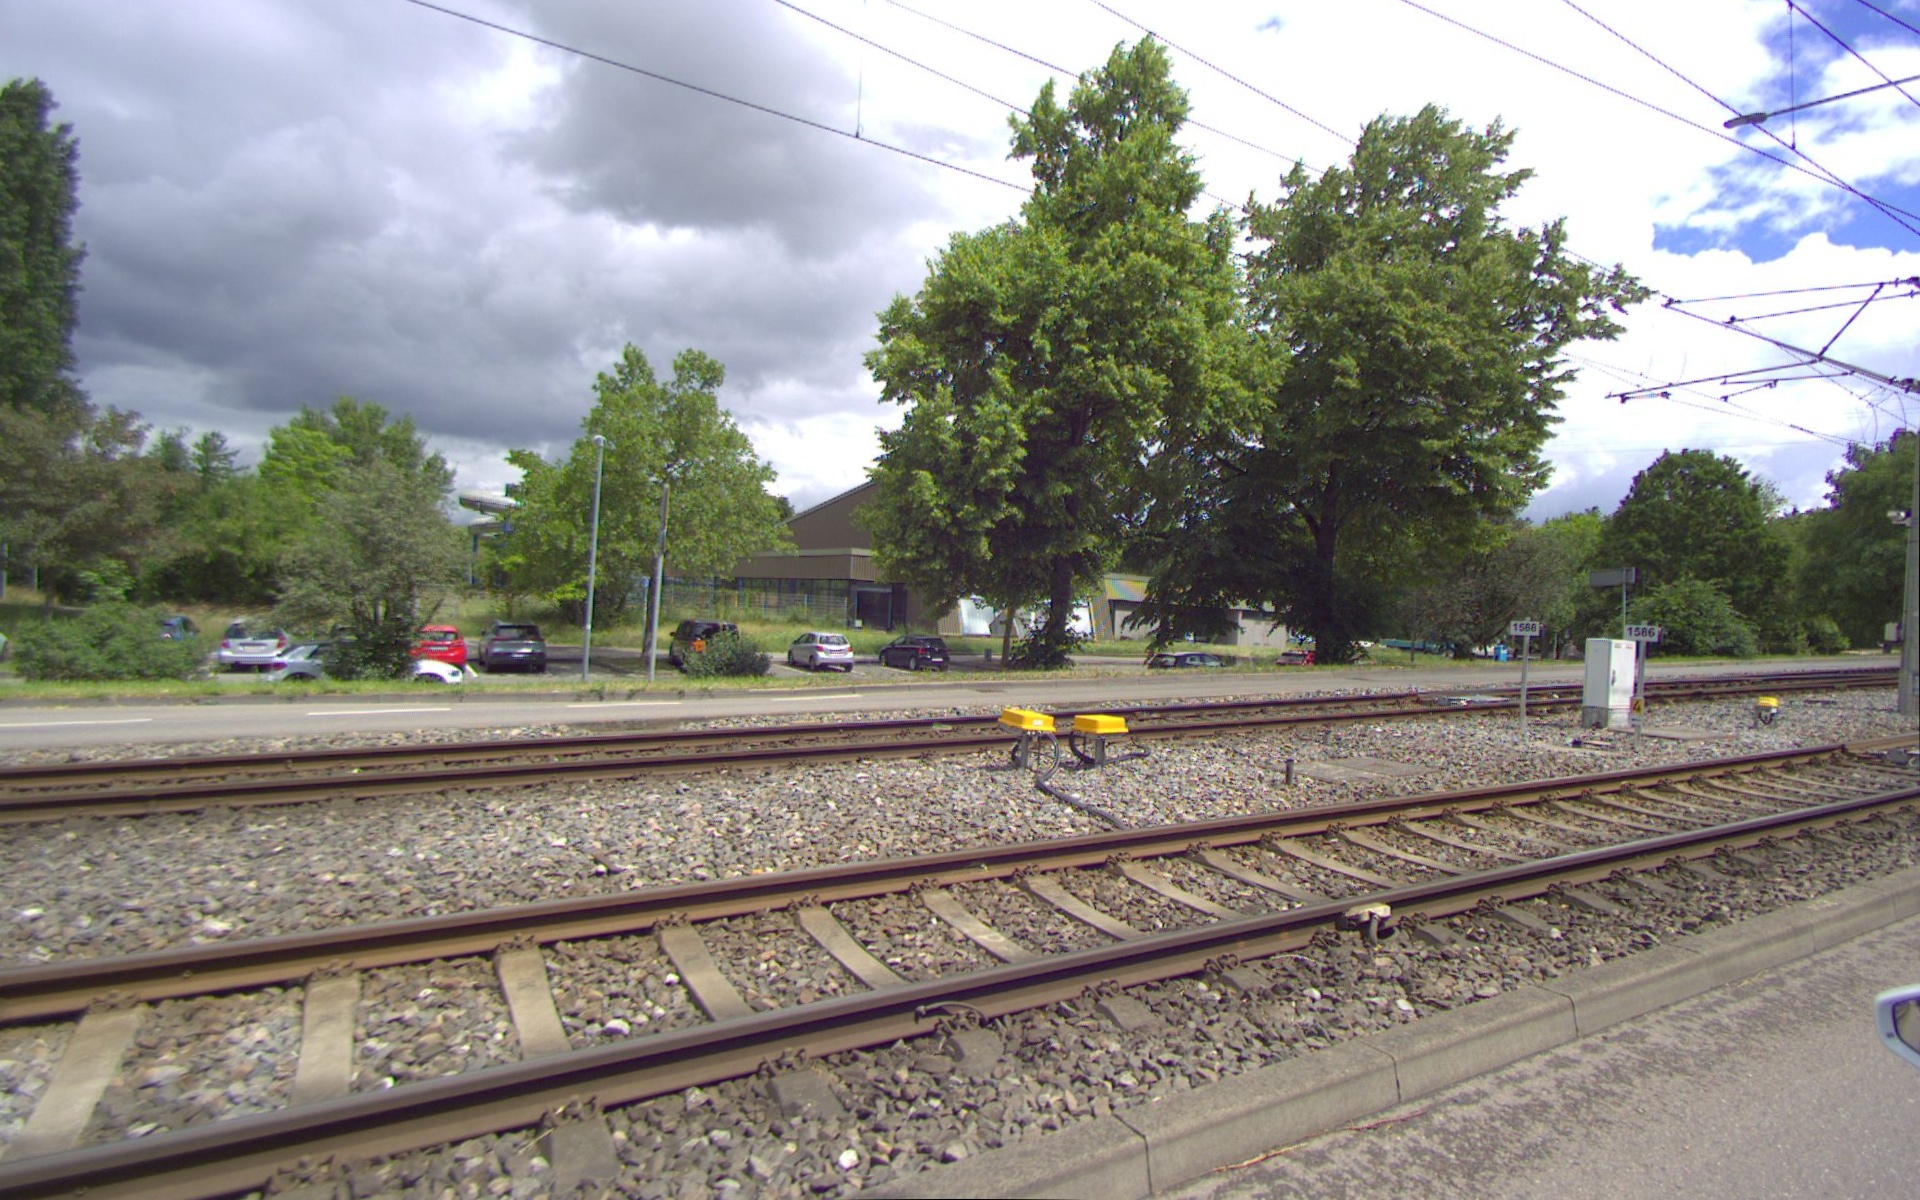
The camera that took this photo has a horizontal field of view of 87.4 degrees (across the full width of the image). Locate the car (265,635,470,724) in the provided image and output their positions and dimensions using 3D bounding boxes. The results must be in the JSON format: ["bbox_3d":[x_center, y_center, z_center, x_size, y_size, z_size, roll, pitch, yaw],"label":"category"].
[{"bbox_3d":[-13.918,1.801,23.780,4.023,1.779,1.979,1,2,-32],"label":"car"}]

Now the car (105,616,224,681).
[{"bbox_3d":[-23.721,1.384,30.114,1.843,1.601,3.943,1,2,-24],"label":"car"}]

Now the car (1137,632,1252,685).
[{"bbox_3d":[8.690,2.121,37.171,3.952,1.795,1.808,1,0,-30],"label":"car"}]

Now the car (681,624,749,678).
[{"bbox_3d":[-9.093,1.843,37.048,1.922,1.659,3.588,2,1,-22],"label":"car"}]

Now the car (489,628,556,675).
[{"bbox_3d":[-15.037,1.725,34.534,1.968,1.269,4.070,1,2,-24],"label":"car"}]

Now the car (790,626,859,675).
[{"bbox_3d":[-5.536,2.005,40.734,1.832,1.620,3.979,2,1,-22],"label":"car"}]

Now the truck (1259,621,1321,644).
[{"bbox_3d":[32.135,3.153,98.089,1.979,2.207,5.792,1,-2,-34],"label":"truck"}]

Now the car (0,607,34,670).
[{"bbox_3d":[-27.260,1.083,27.418,1.818,1.601,3.903,1,2,-26],"label":"car"}]

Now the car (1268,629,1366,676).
[{"bbox_3d":[14.800,2.115,41.557,3.957,1.795,1.805,1,0,-33],"label":"car"}]

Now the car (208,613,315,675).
[{"bbox_3d":[-21.471,1.301,31.039,1.966,1.601,3.943,1,2,-24],"label":"car"}]

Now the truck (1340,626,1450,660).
[{"bbox_3d":[37.968,3.712,88.082,2.586,2.731,9.043,1,-2,-31],"label":"truck"}]

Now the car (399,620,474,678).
[{"bbox_3d":[-17.332,1.561,33.411,1.968,1.601,3.943,1,2,-24],"label":"car"}]

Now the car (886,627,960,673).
[{"bbox_3d":[-1.639,2.104,43.011,1.832,1.620,3.977,2,1,-23],"label":"car"}]
